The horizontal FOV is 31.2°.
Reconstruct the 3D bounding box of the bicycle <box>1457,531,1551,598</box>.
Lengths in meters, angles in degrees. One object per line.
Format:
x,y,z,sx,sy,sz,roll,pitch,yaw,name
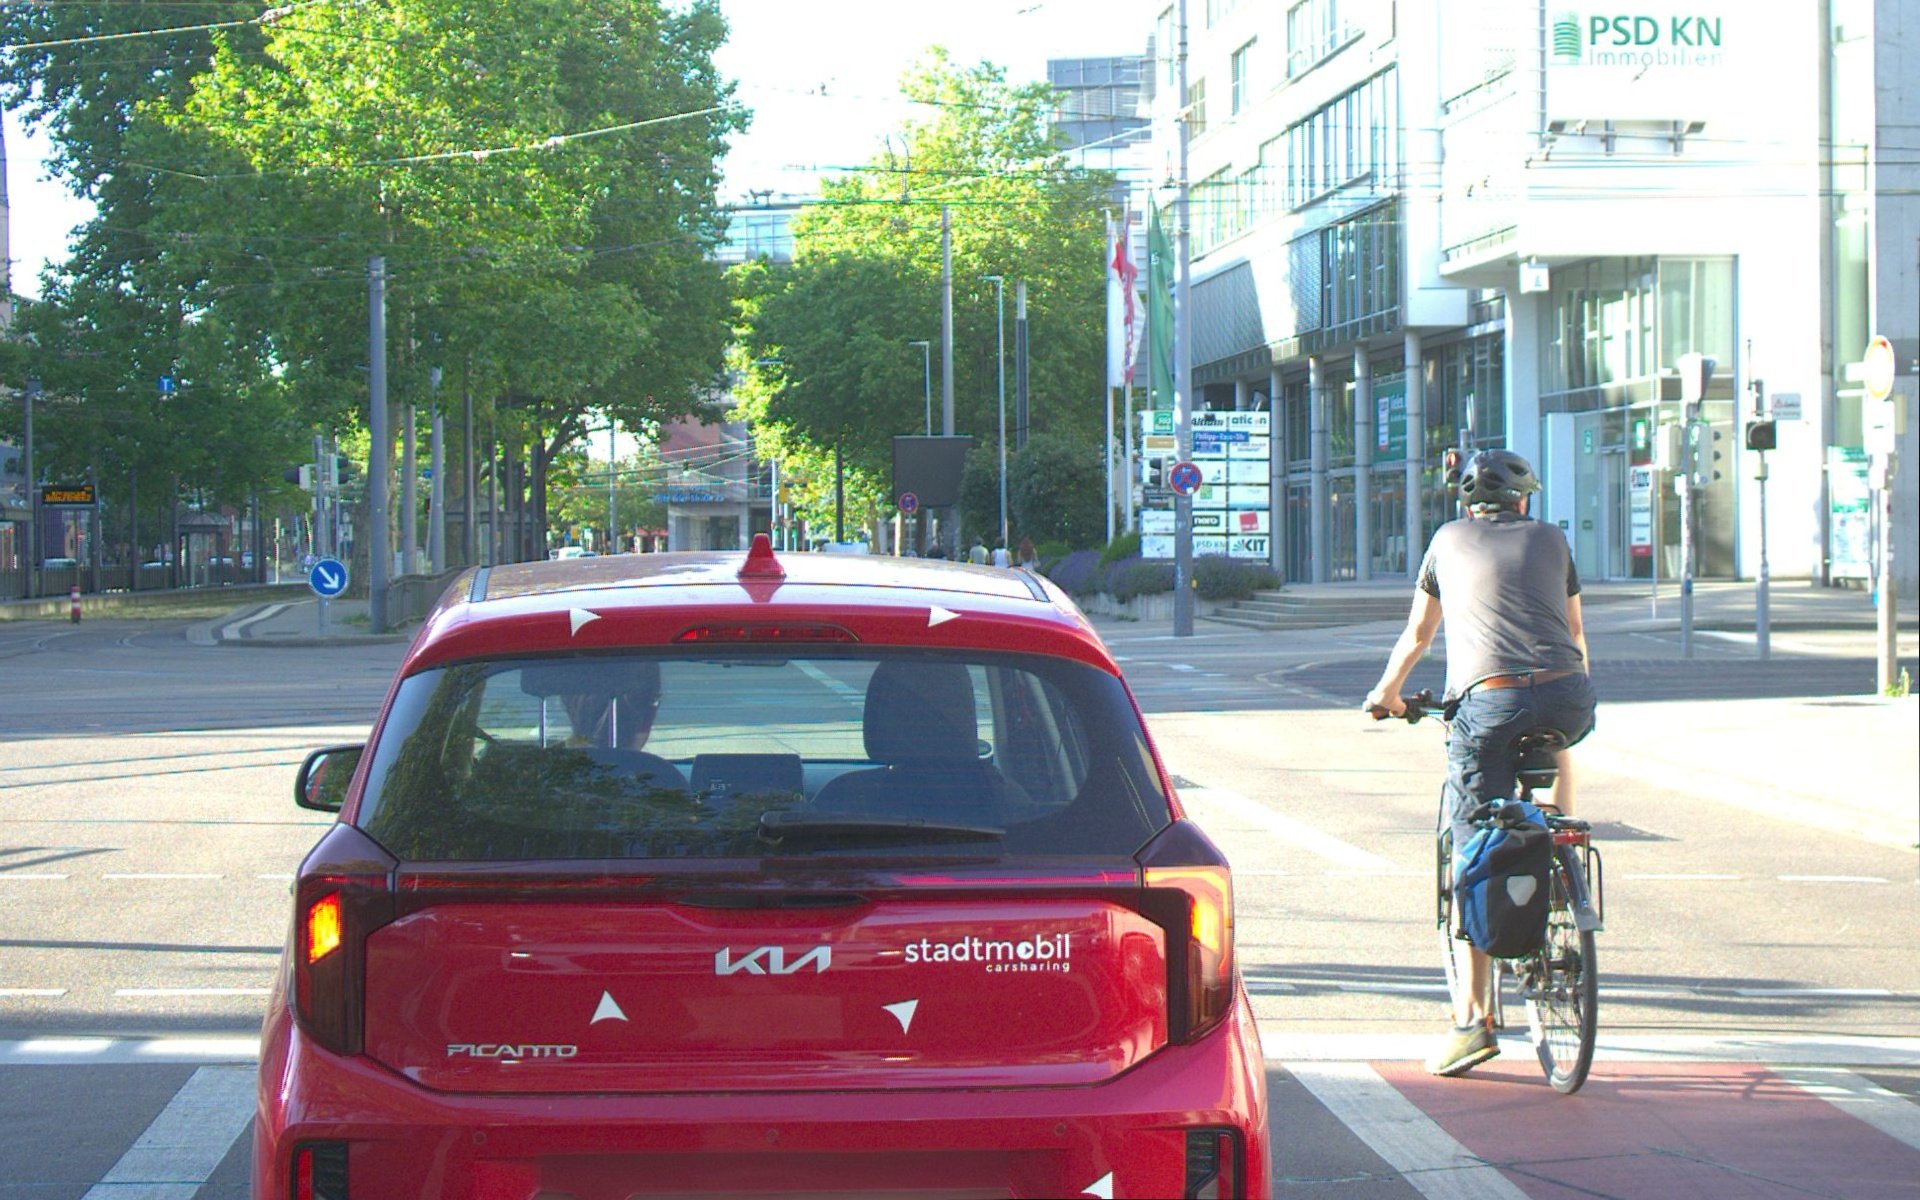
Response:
11.857,-0.769,74.978,1.934,1.438,0.575,-1,1,-6,bicycle

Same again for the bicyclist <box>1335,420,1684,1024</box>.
1.566,0.333,9.898,0.743,1.663,0.745,1,1,-11,bicyclist

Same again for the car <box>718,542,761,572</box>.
-11.651,-2.294,181.789,1.884,1.523,4.433,-1,1,-8,car

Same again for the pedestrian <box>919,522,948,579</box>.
-0.803,-1.495,103.202,0.742,1.710,0.748,-1,1,-8,pedestrian

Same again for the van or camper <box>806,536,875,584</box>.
-4.600,-1.553,132.097,2.145,1.744,4.433,-1,1,-8,van or camper

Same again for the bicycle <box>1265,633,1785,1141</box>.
1.551,0.750,9.907,0.743,1.220,2.157,1,1,-11,bicycle

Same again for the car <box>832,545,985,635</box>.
-0.992,-0.214,63.539,1.843,1.562,4.275,-1,1,-15,car

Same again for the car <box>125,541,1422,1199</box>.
-0.414,0.642,6.763,1.839,1.484,3.717,-1,1,-5,car

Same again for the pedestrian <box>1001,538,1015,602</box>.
1.158,-0.731,83.206,0.294,1.556,0.356,-1,1,-3,pedestrian

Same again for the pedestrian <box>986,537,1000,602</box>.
0.802,-0.734,83.185,0.294,1.556,0.302,-1,1,-3,pedestrian

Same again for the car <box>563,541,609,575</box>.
-19.098,-2.157,175.323,2.057,1.648,3.493,-1,1,-10,car

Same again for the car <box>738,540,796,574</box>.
-9.368,-2.094,166.404,2.478,1.523,4.433,-1,1,-7,car

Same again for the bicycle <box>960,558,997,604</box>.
0.492,-0.503,90.510,0.792,1.157,2.499,-1,1,4,bicycle

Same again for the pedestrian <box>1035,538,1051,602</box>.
2.020,-0.734,83.594,0.294,1.556,0.314,-1,1,12,pedestrian
